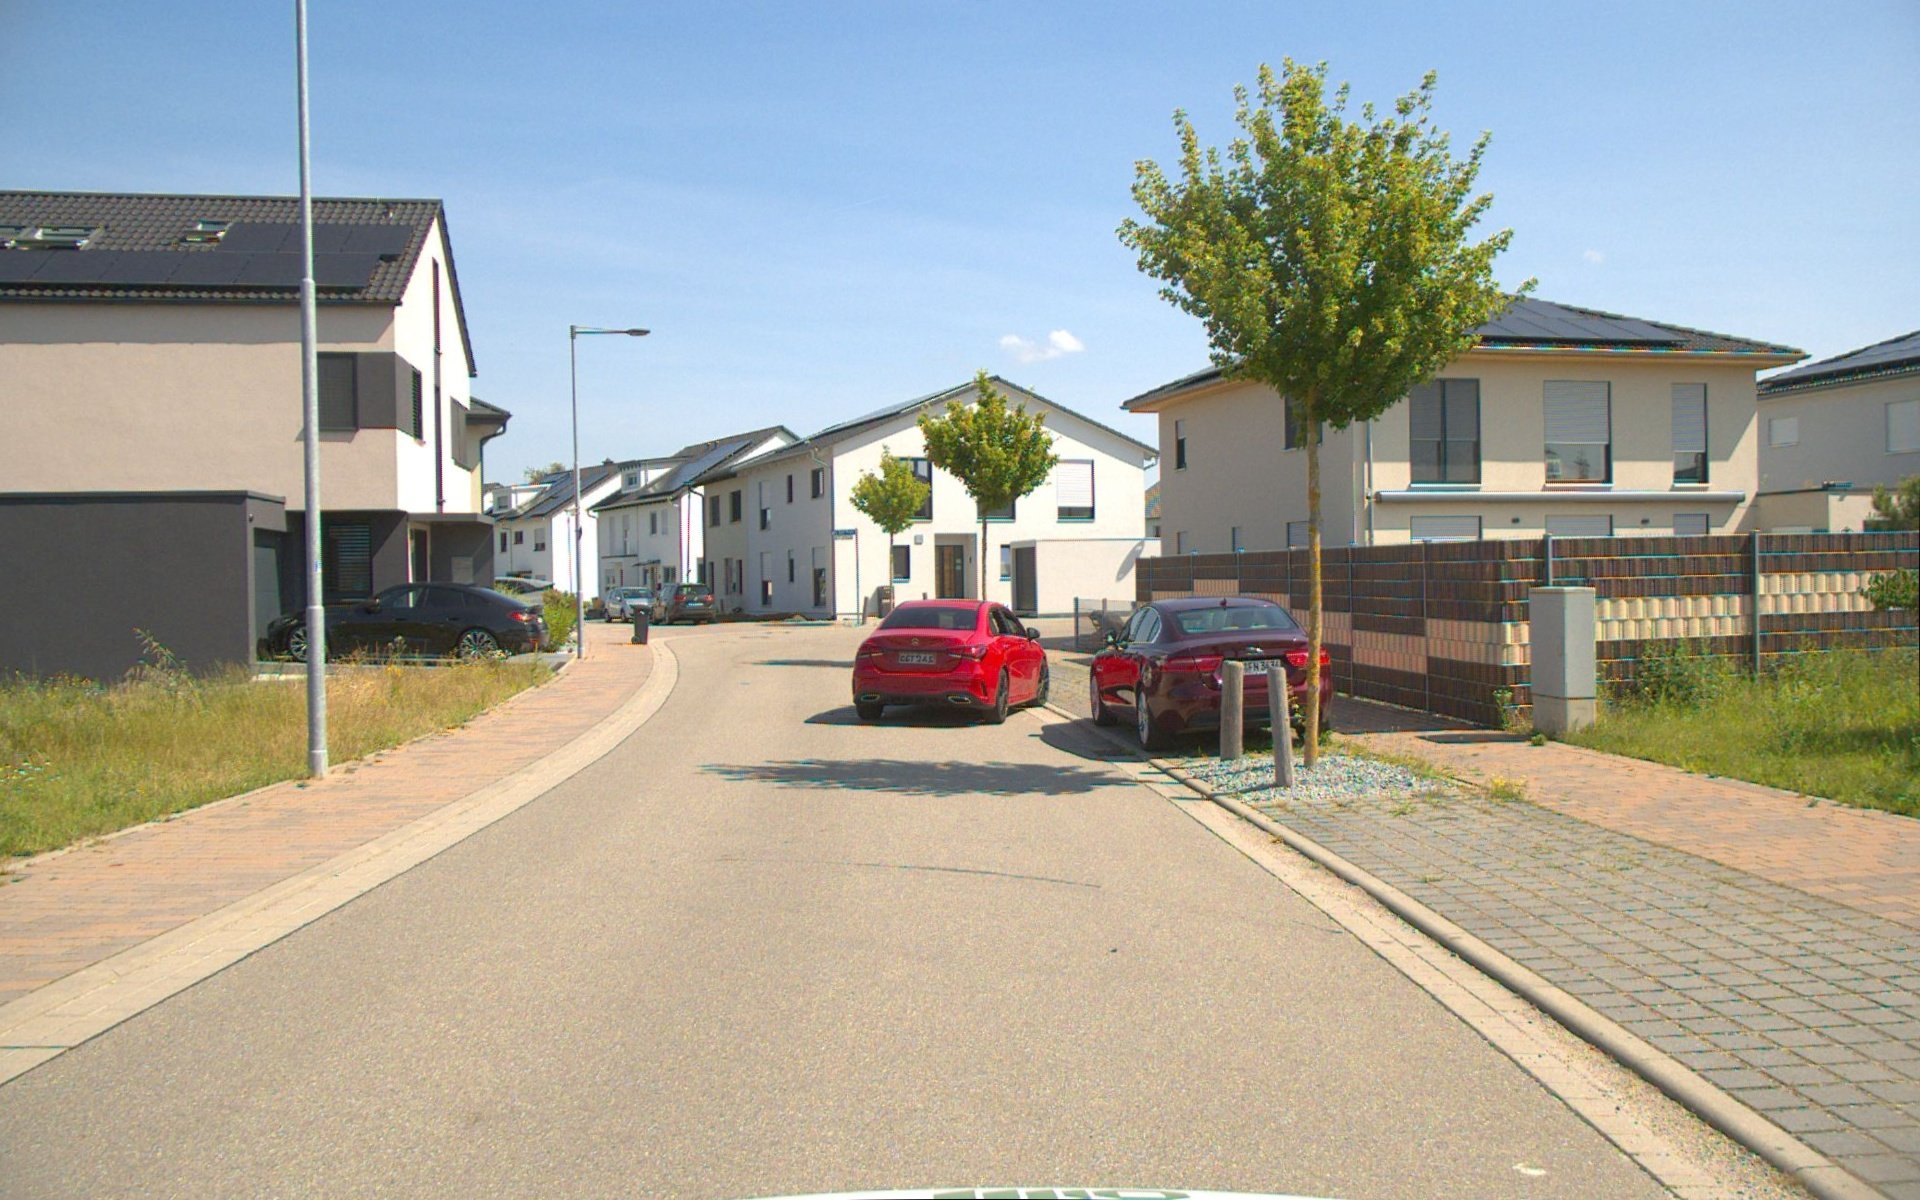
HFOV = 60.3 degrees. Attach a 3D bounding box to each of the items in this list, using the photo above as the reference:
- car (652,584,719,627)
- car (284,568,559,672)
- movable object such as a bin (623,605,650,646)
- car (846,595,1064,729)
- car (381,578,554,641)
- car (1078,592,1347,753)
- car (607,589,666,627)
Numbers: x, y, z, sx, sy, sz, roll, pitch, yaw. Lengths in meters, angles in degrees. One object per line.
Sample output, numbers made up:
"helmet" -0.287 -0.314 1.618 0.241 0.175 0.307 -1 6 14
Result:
"car" -9.869 0.184 59.211 1.701 1.447 3.977 -2 1 -19
"car" -9.366 0.345 29.047 4.294 1.660 1.767 1 0 -8
"movable object such as a bin" -7.719 0.606 39.497 0.523 0.952 0.526 1 0 1
"car" 0.069 0.682 20.844 1.725 1.463 4.523 0 1 13
"car" -12.386 0.215 41.781 3.911 1.512 1.752 -1 1 -7
"car" 2.458 0.639 17.256 1.720 1.387 4.571 -1 1 -5
"car" -13.435 0.312 68.505 1.654 1.489 3.918 -2 1 -22
